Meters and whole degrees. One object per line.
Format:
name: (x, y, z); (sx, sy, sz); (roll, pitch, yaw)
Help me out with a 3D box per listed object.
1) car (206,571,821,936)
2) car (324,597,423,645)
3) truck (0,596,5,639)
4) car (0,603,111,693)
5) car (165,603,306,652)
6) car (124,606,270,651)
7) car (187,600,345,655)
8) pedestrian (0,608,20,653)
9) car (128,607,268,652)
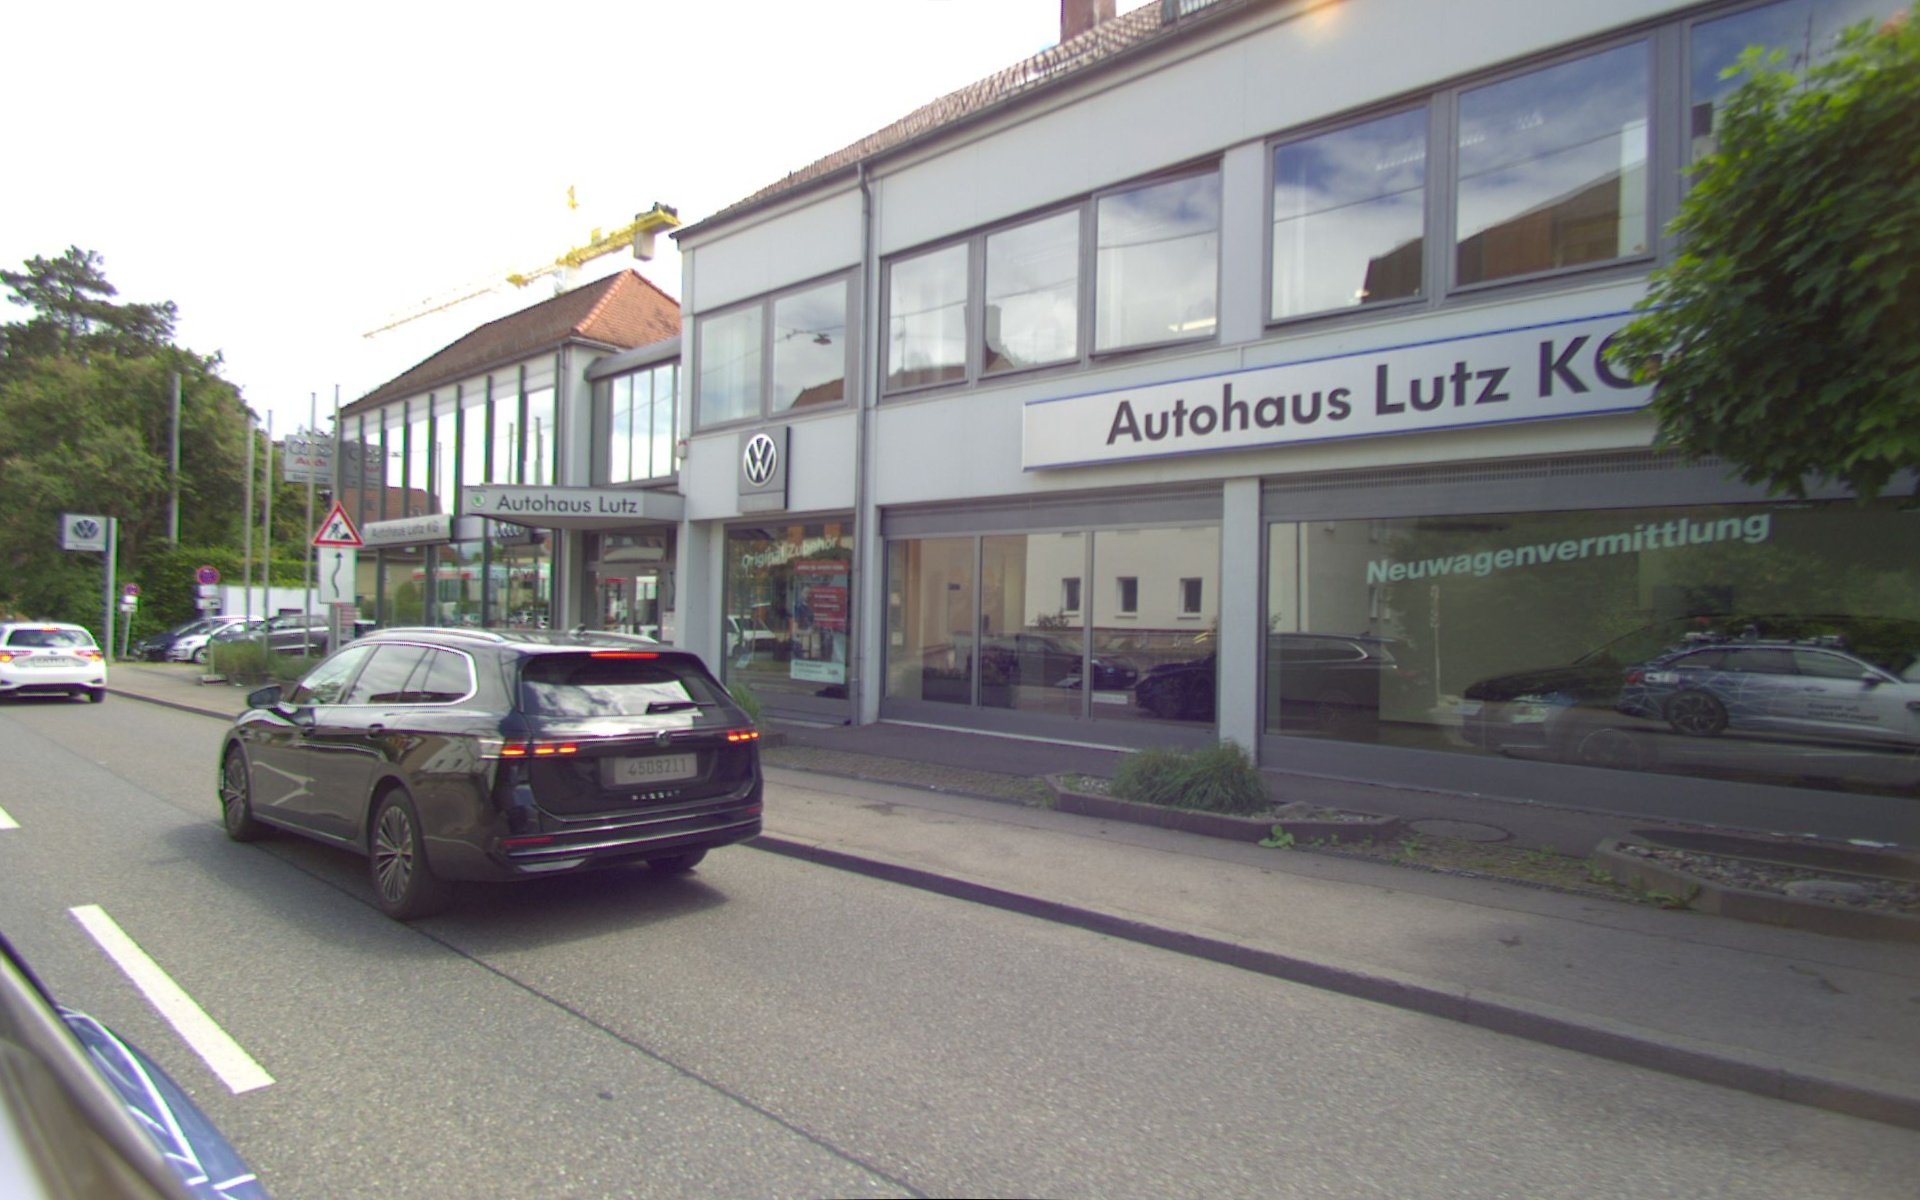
car: (-3.046, 0.677, 6.389); (4.459, 1.535, 1.758); (0, -2, 40)
car: (-21.557, 0.788, 37.114); (4.324, 1.597, 1.788); (-3, 0, 41)
truck: (-57.091, 1.004, 58.479); (6.092, 2.438, 2.281); (0, 0, 42)
car: (-18.007, 0.875, 19.657); (3.797, 1.591, 1.672); (0, -2, 40)
car: (-25.163, 0.921, 35.241); (1.533, 1.572, 3.703); (-1, 0, 39)
car: (-29.537, 1.076, 39.275); (1.903, 1.653, 4.245); (-2, -1, 41)
car: (-22.754, 0.850, 33.306); (1.652, 1.643, 3.974); (-1, 0, 39)
pedestrian: (-37.396, 1.191, 39.704); (0.868, 1.750, 0.676); (0, -1, 40)
car: (-27.495, 1.090, 36.601); (1.727, 1.530, 3.703); (-1, -3, 39)
